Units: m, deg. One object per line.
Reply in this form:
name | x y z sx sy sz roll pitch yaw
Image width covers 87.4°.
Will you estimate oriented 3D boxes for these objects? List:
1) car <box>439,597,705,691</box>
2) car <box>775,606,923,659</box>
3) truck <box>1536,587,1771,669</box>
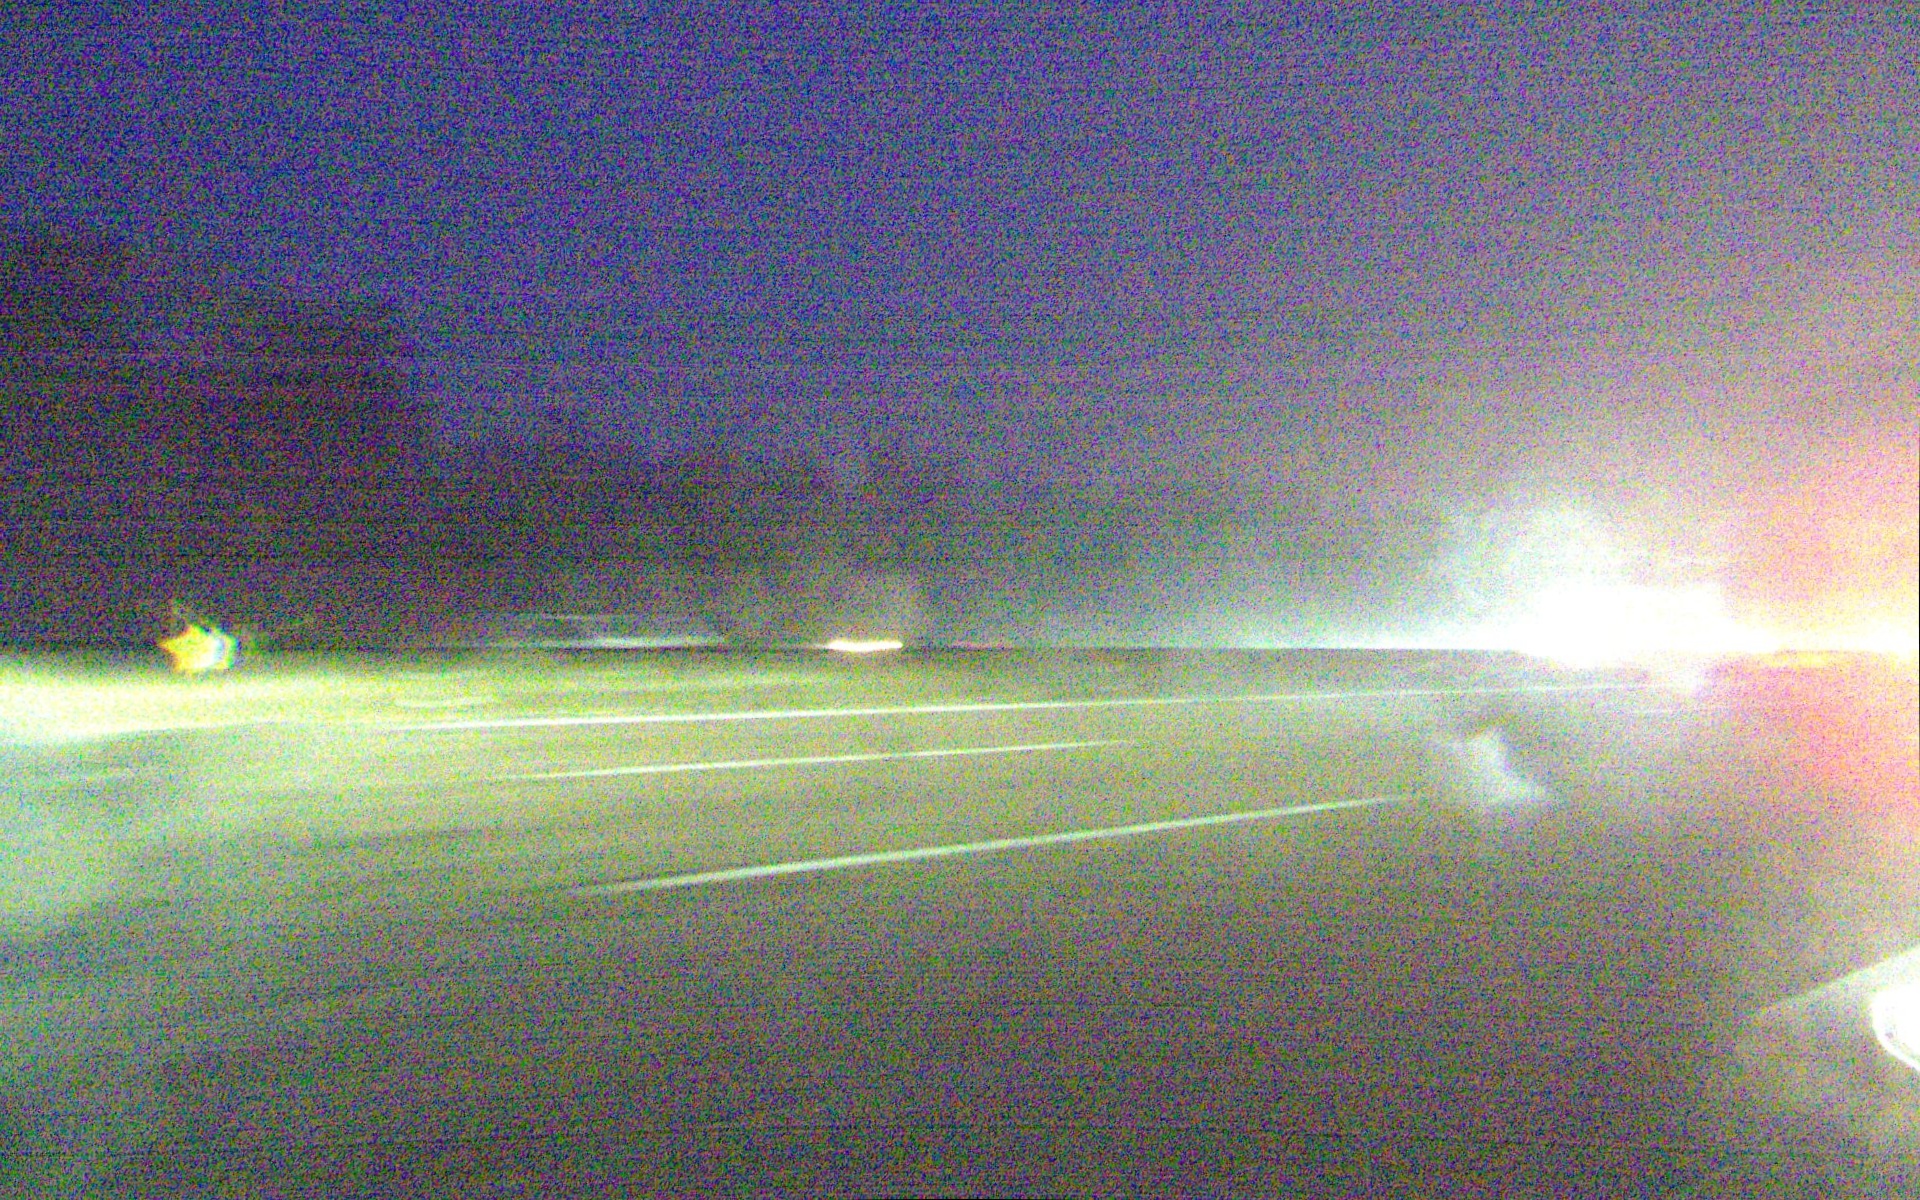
car | -7.291 0.825 18.981 4.409 1.578 1.870 2 0 -31
car | -3.620 1.068 32.932 4.409 1.578 1.870 2 0 -31
truck | 37.932 1.623 54.448 16.978 3.939 3.483 2 0 -30
